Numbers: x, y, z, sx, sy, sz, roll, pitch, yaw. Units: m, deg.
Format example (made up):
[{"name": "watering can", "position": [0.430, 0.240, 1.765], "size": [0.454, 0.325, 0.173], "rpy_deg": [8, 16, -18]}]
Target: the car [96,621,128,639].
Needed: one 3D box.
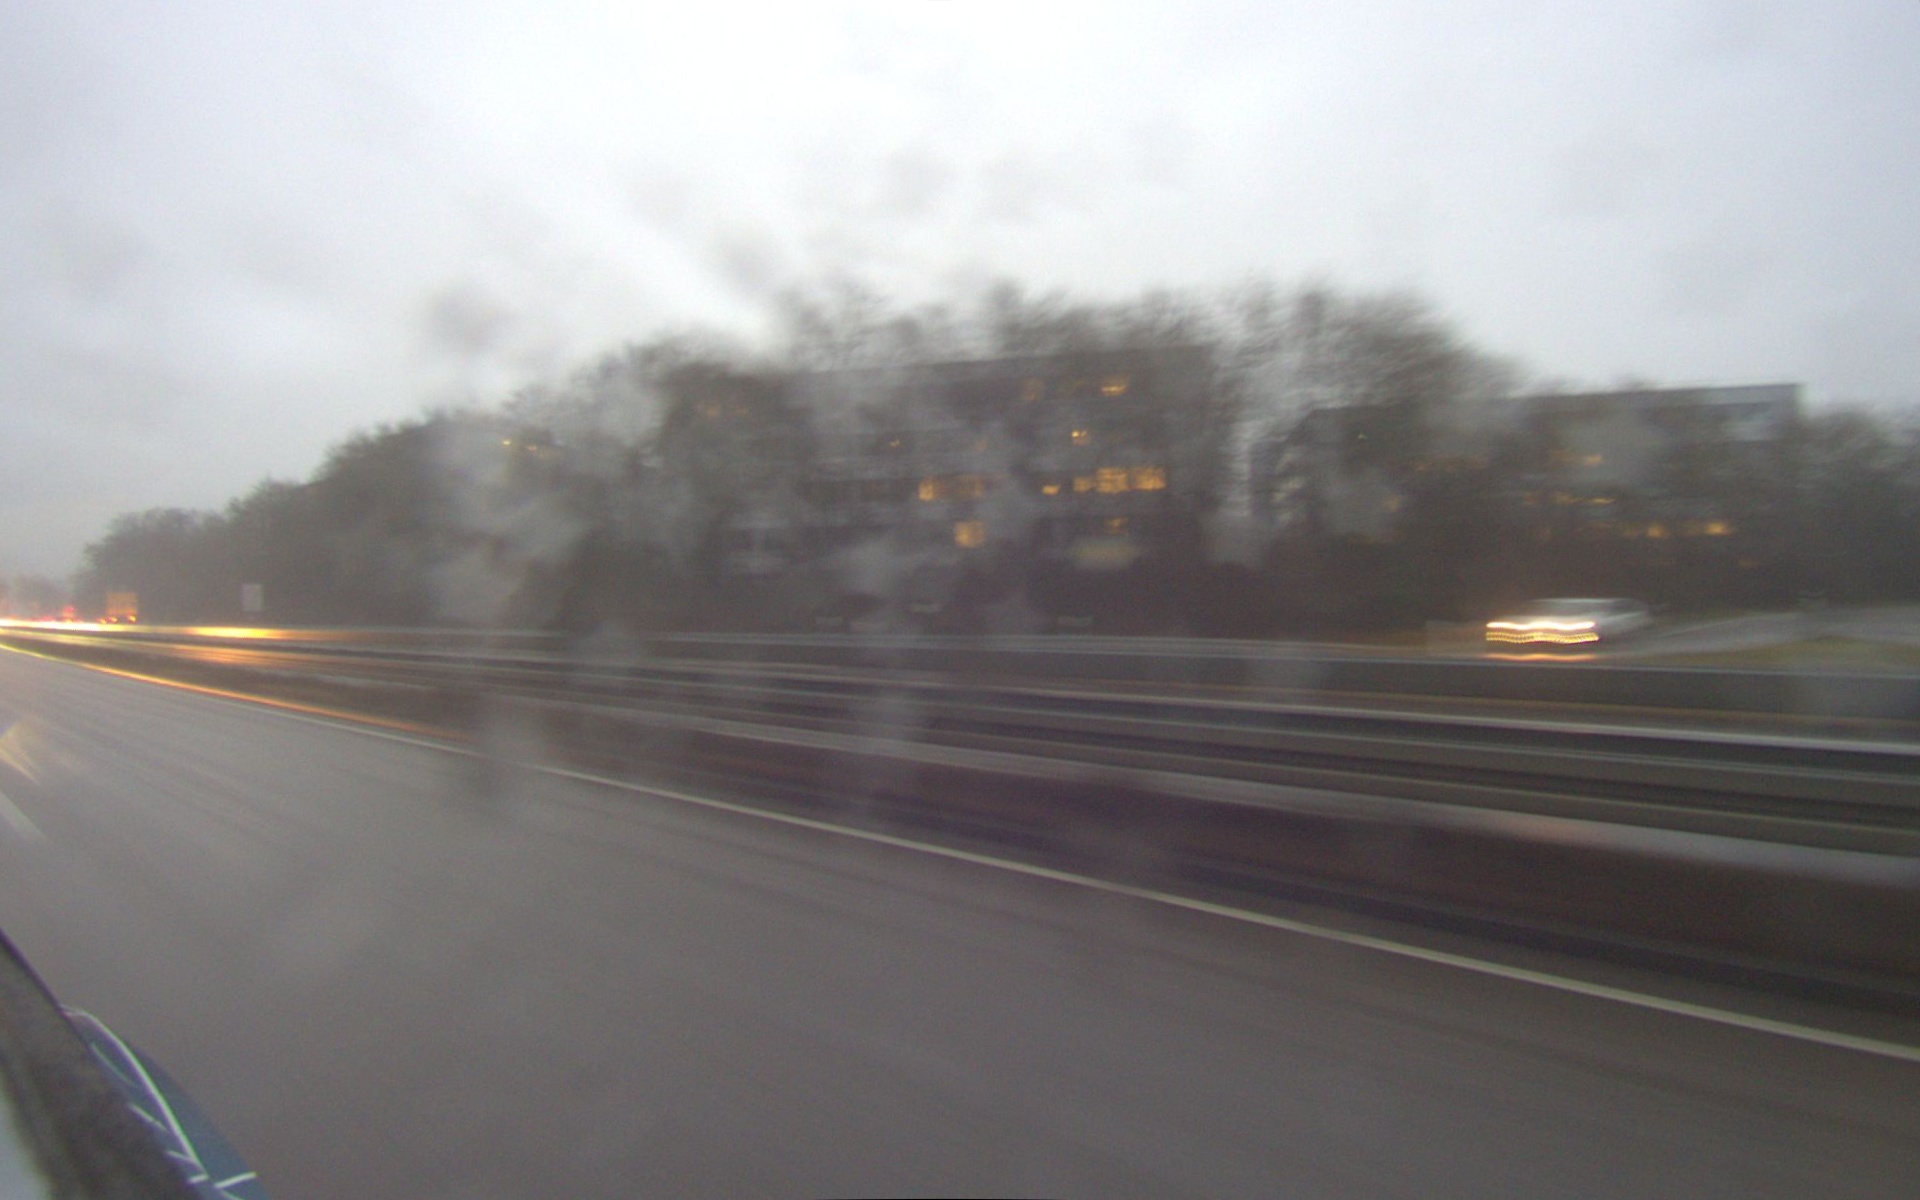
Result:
[{"name": "car", "position": [-89.228, 3.128, 106.506], "size": [4.473, 1.691, 1.972], "rpy_deg": [-2, 2, 43]}]

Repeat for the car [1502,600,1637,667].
[{"name": "car", "position": [18.390, 0.954, 30.499], "size": [3.933, 1.697, 1.858], "rpy_deg": [-3, 1, -32]}]

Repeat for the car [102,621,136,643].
[{"name": "car", "position": [-72.556, 2.753, 87.297], "size": [4.207, 1.799, 1.626], "rpy_deg": [-2, 2, 43]}]

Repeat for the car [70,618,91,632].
[{"name": "car", "position": [-116.560, 3.315, 134.113], "size": [1.970, 1.766, 4.905], "rpy_deg": [-4, 2, -42]}]
